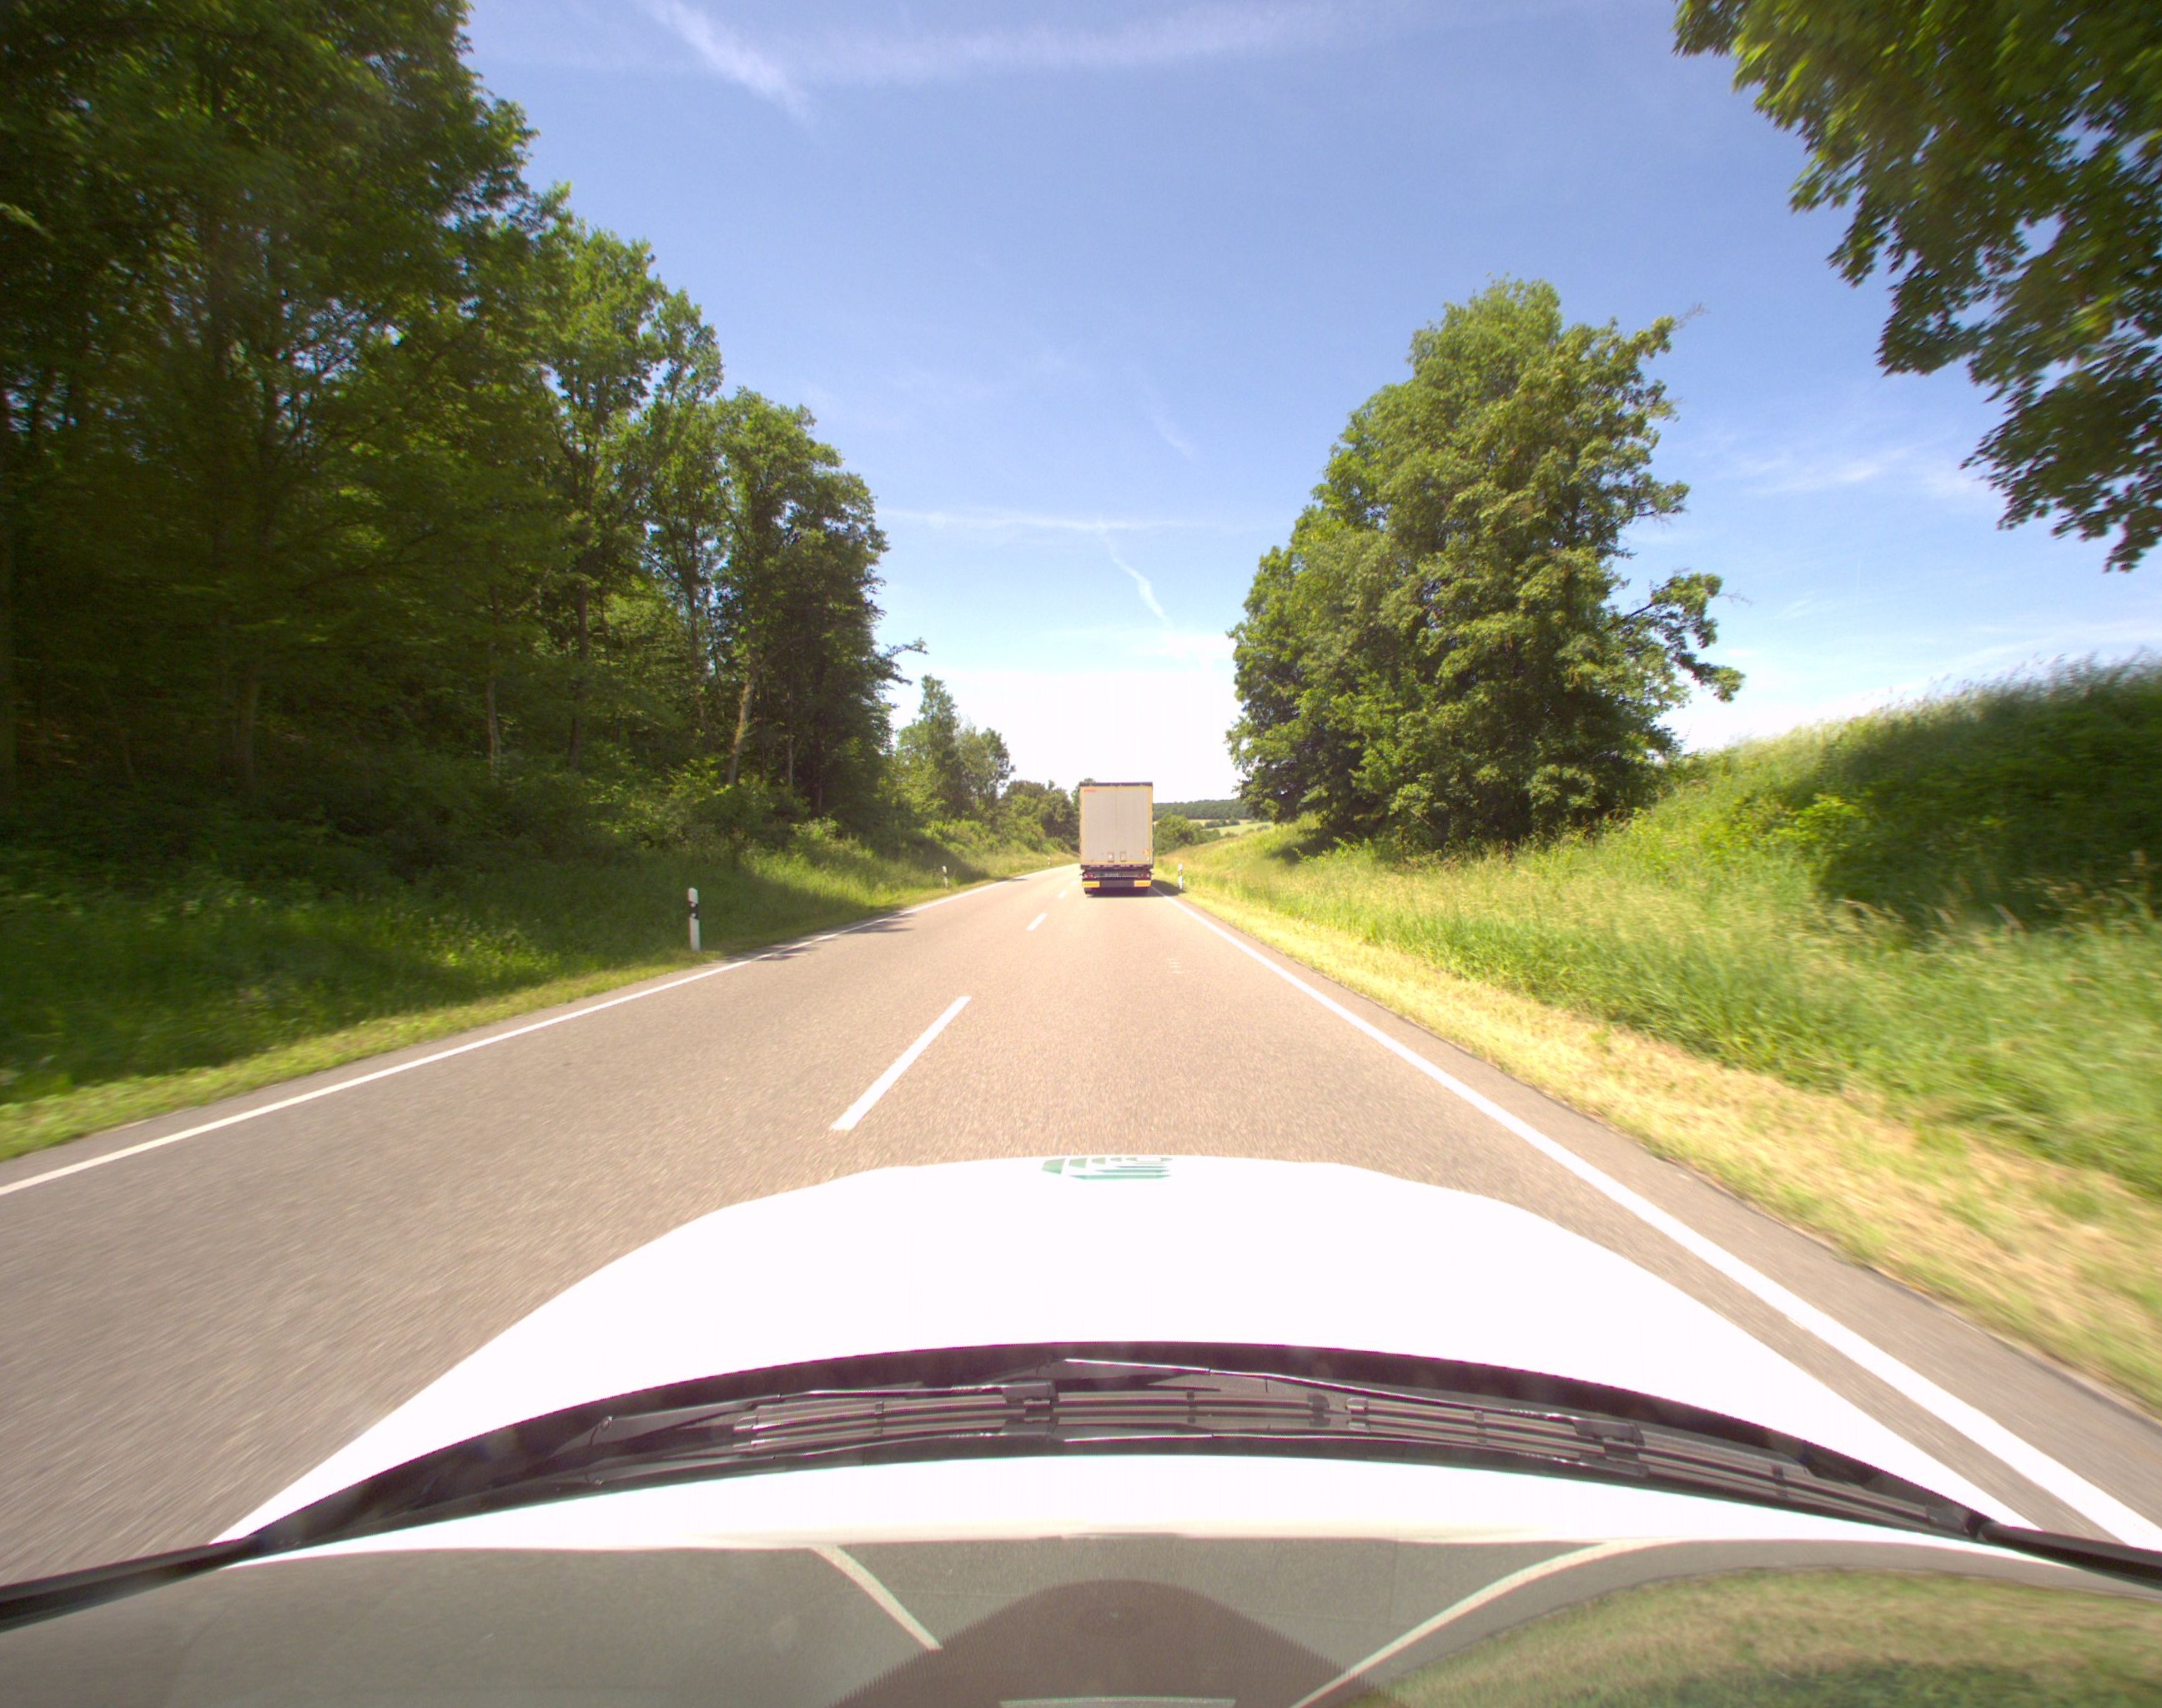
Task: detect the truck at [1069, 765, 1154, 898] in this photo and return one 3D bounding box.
[{"bbox_3d":[1.253,-0.783,33.956,2.807,4.532,11.773,-2,0,2],"label":"truck"}]
